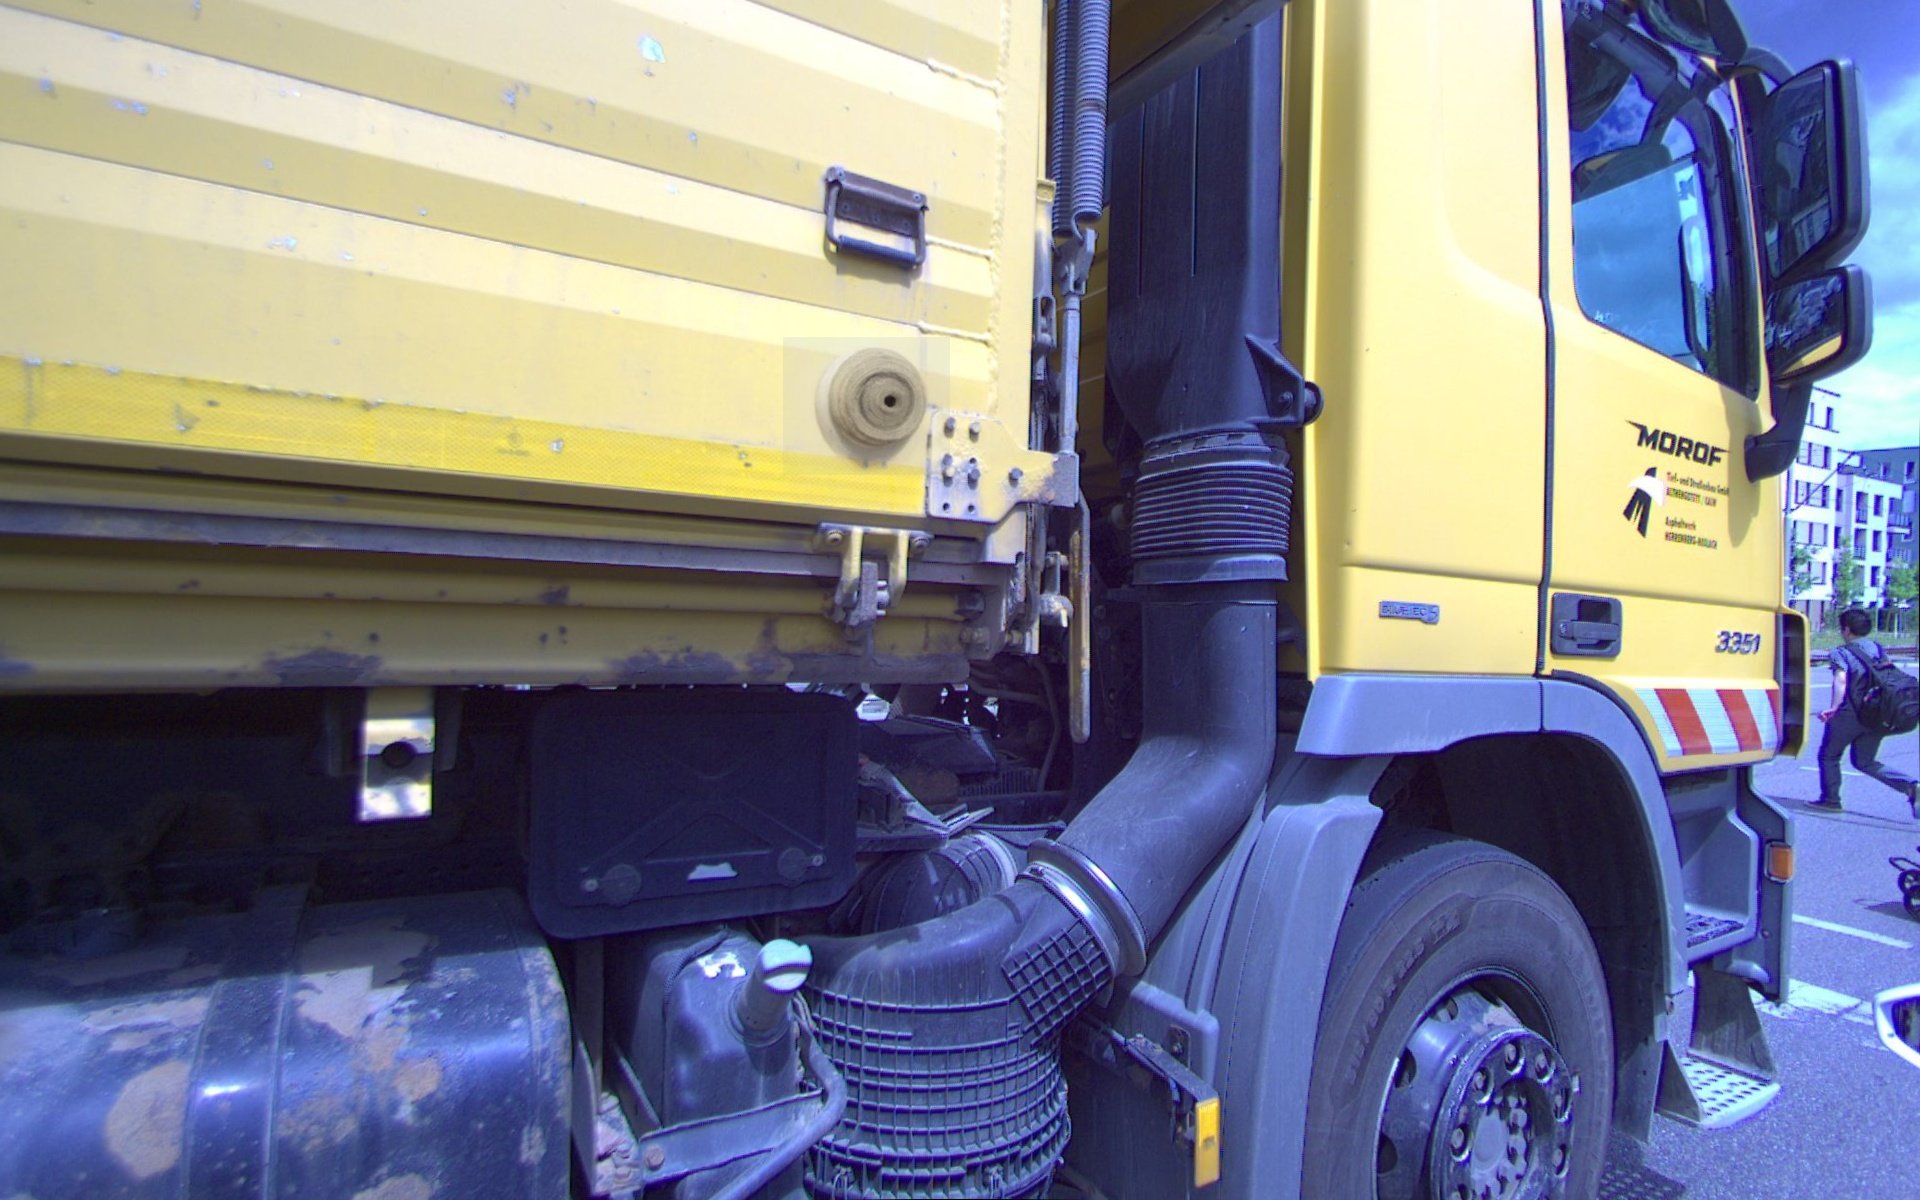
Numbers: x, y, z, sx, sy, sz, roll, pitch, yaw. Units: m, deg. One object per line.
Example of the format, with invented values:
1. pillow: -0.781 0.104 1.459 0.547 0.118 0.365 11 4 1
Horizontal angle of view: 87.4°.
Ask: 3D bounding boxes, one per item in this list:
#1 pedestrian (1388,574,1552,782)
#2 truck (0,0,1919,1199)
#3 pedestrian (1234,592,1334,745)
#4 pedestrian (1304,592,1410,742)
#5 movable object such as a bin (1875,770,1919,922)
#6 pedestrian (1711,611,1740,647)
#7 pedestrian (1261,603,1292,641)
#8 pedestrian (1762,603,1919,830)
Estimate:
1. pedestrian: 4.739 0.681 9.368 0.937 1.798 1.005 1 0 -29
2. truck: -1.710 -0.232 1.617 7.916 3.439 3.033 1 0 -32
3. pedestrian: 3.663 0.743 11.399 0.722 1.662 0.821 1 1 -18
4. pedestrian: 4.596 0.749 11.664 0.753 1.656 0.867 1 0 -19
5. movable object such as a bin: 5.105 1.232 4.867 0.768 0.671 0.792 1 0 -30
6. pedestrian: 33.740 1.268 44.271 0.628 1.536 0.827 1 0 -30
7. pedestrian: 14.488 0.998 46.036 1.093 1.698 0.914 1 0 -43
8. pedestrian: 6.772 0.816 7.574 0.835 1.573 0.939 1 0 -36
